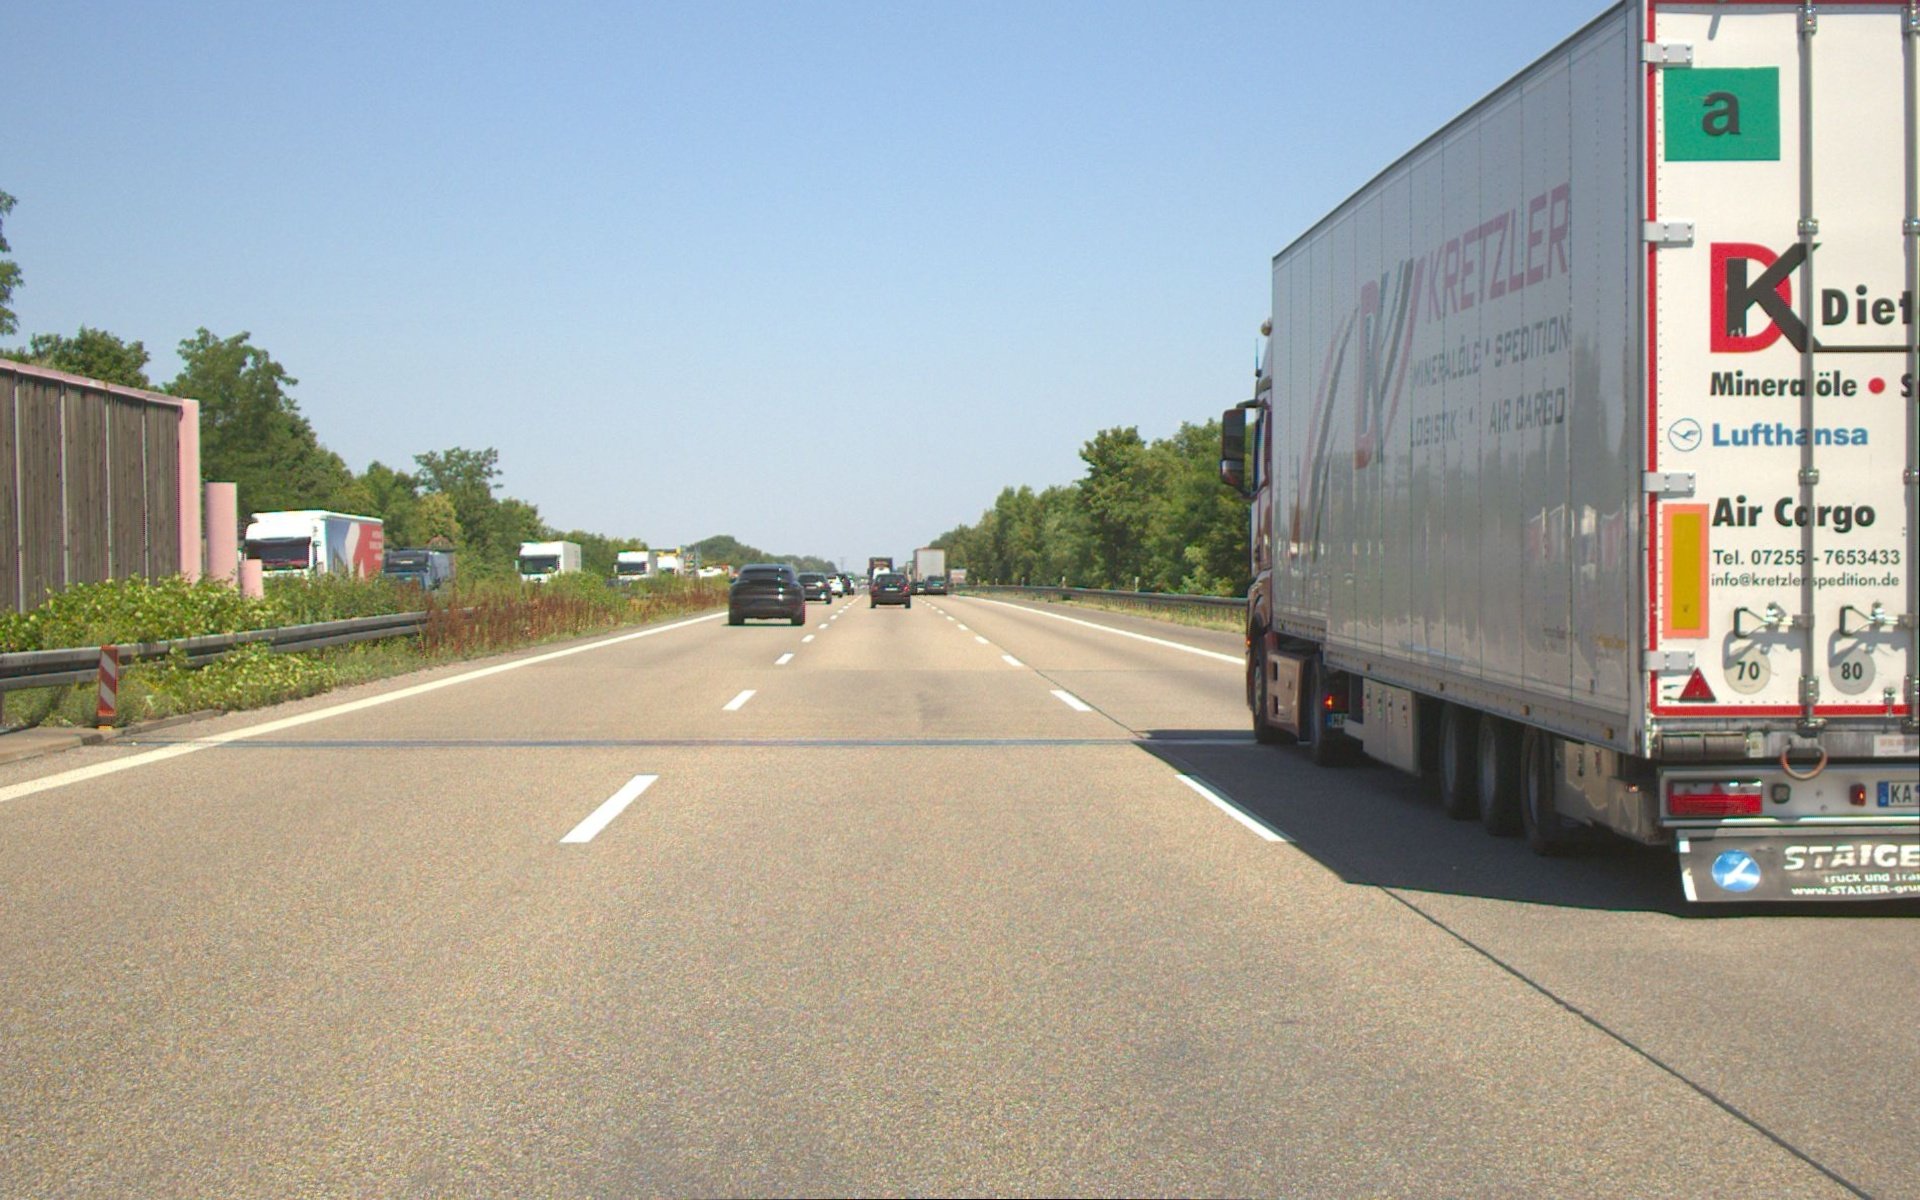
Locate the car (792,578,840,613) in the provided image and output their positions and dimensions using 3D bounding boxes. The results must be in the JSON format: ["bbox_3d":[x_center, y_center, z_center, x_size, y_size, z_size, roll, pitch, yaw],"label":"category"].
[{"bbox_3d":[-6.851,-0.226,163.908,2.128,1.640,4.304,-1,0,-1],"label":"car"}]

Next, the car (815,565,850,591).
[{"bbox_3d":[-8.292,-1.426,223.870,2.128,1.640,4.304,-1,0,-1],"label":"car"}]

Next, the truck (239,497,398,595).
[{"bbox_3d":[-23.375,-2.012,126.304,2.837,3.330,17.005,0,1,-1],"label":"truck"}]

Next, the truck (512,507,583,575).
[{"bbox_3d":[-25.760,-3.667,214.941,3.581,4.089,7.839,-1,1,-1],"label":"truck"}]

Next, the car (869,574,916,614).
[{"bbox_3d":[-2.803,-0.250,143.234,1.903,1.578,4.304,-1,0,-1],"label":"car"}]

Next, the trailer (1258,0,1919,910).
[{"bbox_3d":[4.156,-1.295,20.859,3.269,4.821,14.030,0,1,-1],"label":"trailer"}]

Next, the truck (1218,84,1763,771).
[{"bbox_3d":[4.043,-1.293,27.989,3.234,4.872,6.972,0,1,-1],"label":"truck"}]

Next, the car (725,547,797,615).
[{"bbox_3d":[-5.383,-0.538,93.286,1.880,1.786,4.001,0,1,-2],"label":"car"}]
